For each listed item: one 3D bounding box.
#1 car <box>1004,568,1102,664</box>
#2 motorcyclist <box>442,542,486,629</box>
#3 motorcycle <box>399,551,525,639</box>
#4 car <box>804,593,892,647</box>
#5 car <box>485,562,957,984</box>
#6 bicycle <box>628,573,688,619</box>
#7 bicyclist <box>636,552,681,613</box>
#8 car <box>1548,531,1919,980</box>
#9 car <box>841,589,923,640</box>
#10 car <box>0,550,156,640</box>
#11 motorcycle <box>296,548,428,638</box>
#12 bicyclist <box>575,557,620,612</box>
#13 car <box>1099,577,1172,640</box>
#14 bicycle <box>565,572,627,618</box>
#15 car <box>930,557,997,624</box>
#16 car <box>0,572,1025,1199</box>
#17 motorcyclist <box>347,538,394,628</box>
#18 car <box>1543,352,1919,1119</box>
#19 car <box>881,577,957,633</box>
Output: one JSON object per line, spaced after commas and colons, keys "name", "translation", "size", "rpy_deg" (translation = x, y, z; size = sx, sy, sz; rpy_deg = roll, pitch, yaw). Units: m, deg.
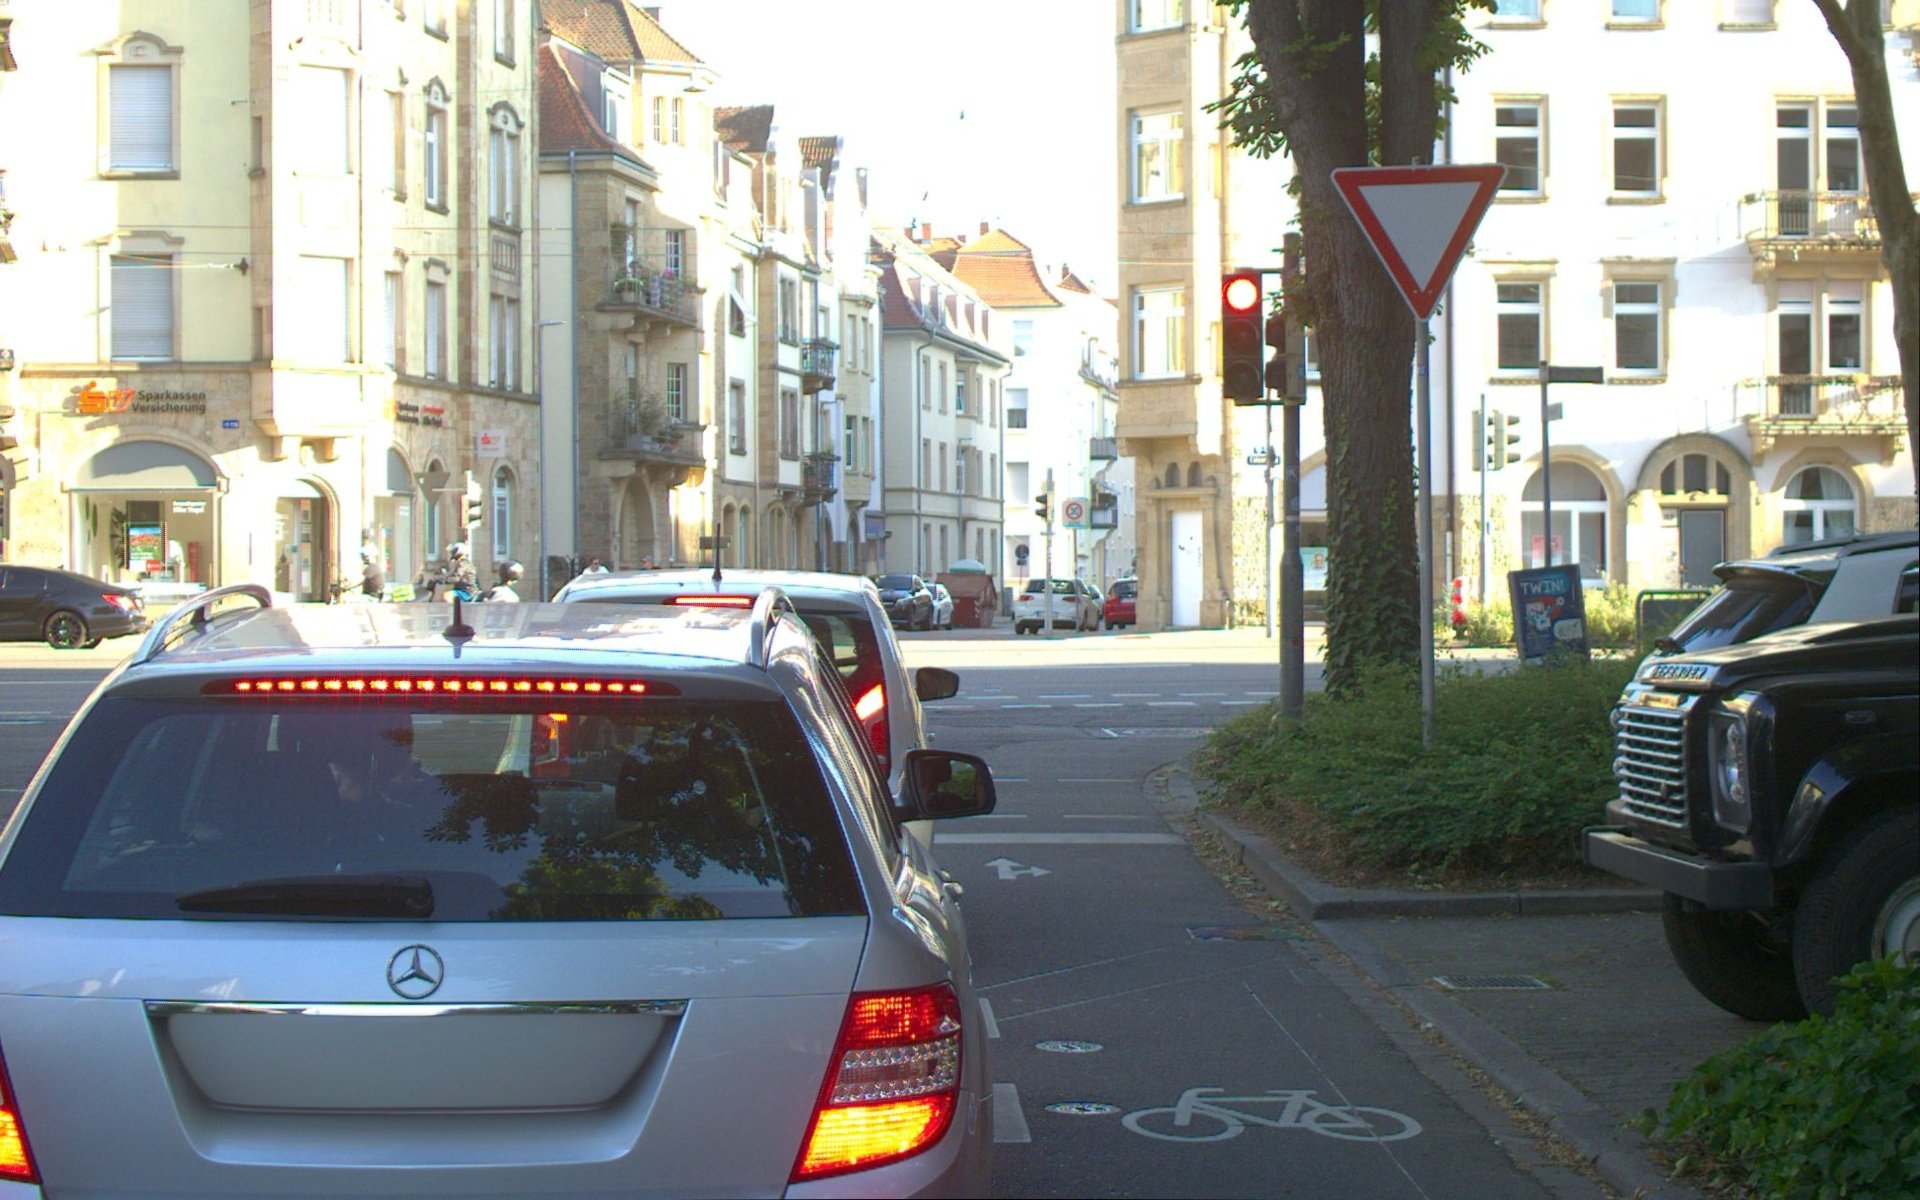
{"name": "car", "translation": [2.349, 0.367, 85.900], "size": [2.031, 2.272, 3.999], "rpy_deg": [0, 1, 8]}
{"name": "motorcyclist", "translation": [-8.285, -0.247, 57.408], "size": [0.681, 1.447, 0.568], "rpy_deg": [-1, 1, -4]}
{"name": "motorcycle", "translation": [-8.312, -0.091, 57.408], "size": [2.033, 1.447, 0.568], "rpy_deg": [-1, 1, -4]}
{"name": "car", "translation": [-3.151, 0.535, 97.042], "size": [1.835, 1.397, 3.999], "rpy_deg": [0, 1, 8]}
{"name": "car", "translation": [-0.909, 0.575, 14.051], "size": [1.619, 1.442, 4.345], "rpy_deg": [0, 1, -2]}
{"name": "bicycle", "translation": [-6.438, -0.095, 73.474], "size": [0.771, 0.931, 1.939], "rpy_deg": [1, 1, 11]}
{"name": "bicyclist", "translation": [-6.436, -0.387, 73.471], "size": [0.771, 1.285, 0.752], "rpy_deg": [1, 1, 11]}
{"name": "car", "translation": [4.295, 0.508, 13.091], "size": [3.723, 1.564, 1.709], "rpy_deg": [-1, 0, -4]}
{"name": "car", "translation": [-2.316, 0.409, 102.532], "size": [1.835, 1.397, 3.999], "rpy_deg": [0, 1, 8]}
{"name": "car", "translation": [-15.727, -0.095, 56.007], "size": [4.883, 1.447, 1.859], "rpy_deg": [0, 1, -4]}
{"name": "motorcycle", "translation": [-9.695, -0.118, 55.775], "size": [2.033, 1.447, 0.568], "rpy_deg": [-1, 1, -4]}
{"name": "bicyclist", "translation": [-7.743, -0.327, 73.461], "size": [0.771, 1.152, 0.752], "rpy_deg": [1, 1, 11]}
{"name": "car", "translation": [5.226, 0.235, 101.932], "size": [1.835, 1.738, 3.999], "rpy_deg": [0, 1, 8]}
{"name": "bicycle", "translation": [-7.761, -0.105, 73.386], "size": [0.771, 0.936, 1.939], "rpy_deg": [1, 1, 11]}
{"name": "car", "translation": [0.139, -0.336, 117.350], "size": [1.787, 2.196, 3.999], "rpy_deg": [0, 1, 8]}
{"name": "car", "translation": [-0.893, 0.685, 6.961], "size": [1.777, 1.447, 4.548], "rpy_deg": [0, 1, -2]}
{"name": "motorcyclist", "translation": [-9.561, -0.272, 55.784], "size": [0.681, 1.447, 0.568], "rpy_deg": [-1, 1, -4]}
{"name": "car", "translation": [4.140, 0.308, 10.122], "size": [4.465, 2.029, 1.701], "rpy_deg": [-1, 0, -3]}
{"name": "car", "translation": [-1.270, 0.133, 108.762], "size": [1.835, 1.657, 3.999], "rpy_deg": [0, 1, 8]}
